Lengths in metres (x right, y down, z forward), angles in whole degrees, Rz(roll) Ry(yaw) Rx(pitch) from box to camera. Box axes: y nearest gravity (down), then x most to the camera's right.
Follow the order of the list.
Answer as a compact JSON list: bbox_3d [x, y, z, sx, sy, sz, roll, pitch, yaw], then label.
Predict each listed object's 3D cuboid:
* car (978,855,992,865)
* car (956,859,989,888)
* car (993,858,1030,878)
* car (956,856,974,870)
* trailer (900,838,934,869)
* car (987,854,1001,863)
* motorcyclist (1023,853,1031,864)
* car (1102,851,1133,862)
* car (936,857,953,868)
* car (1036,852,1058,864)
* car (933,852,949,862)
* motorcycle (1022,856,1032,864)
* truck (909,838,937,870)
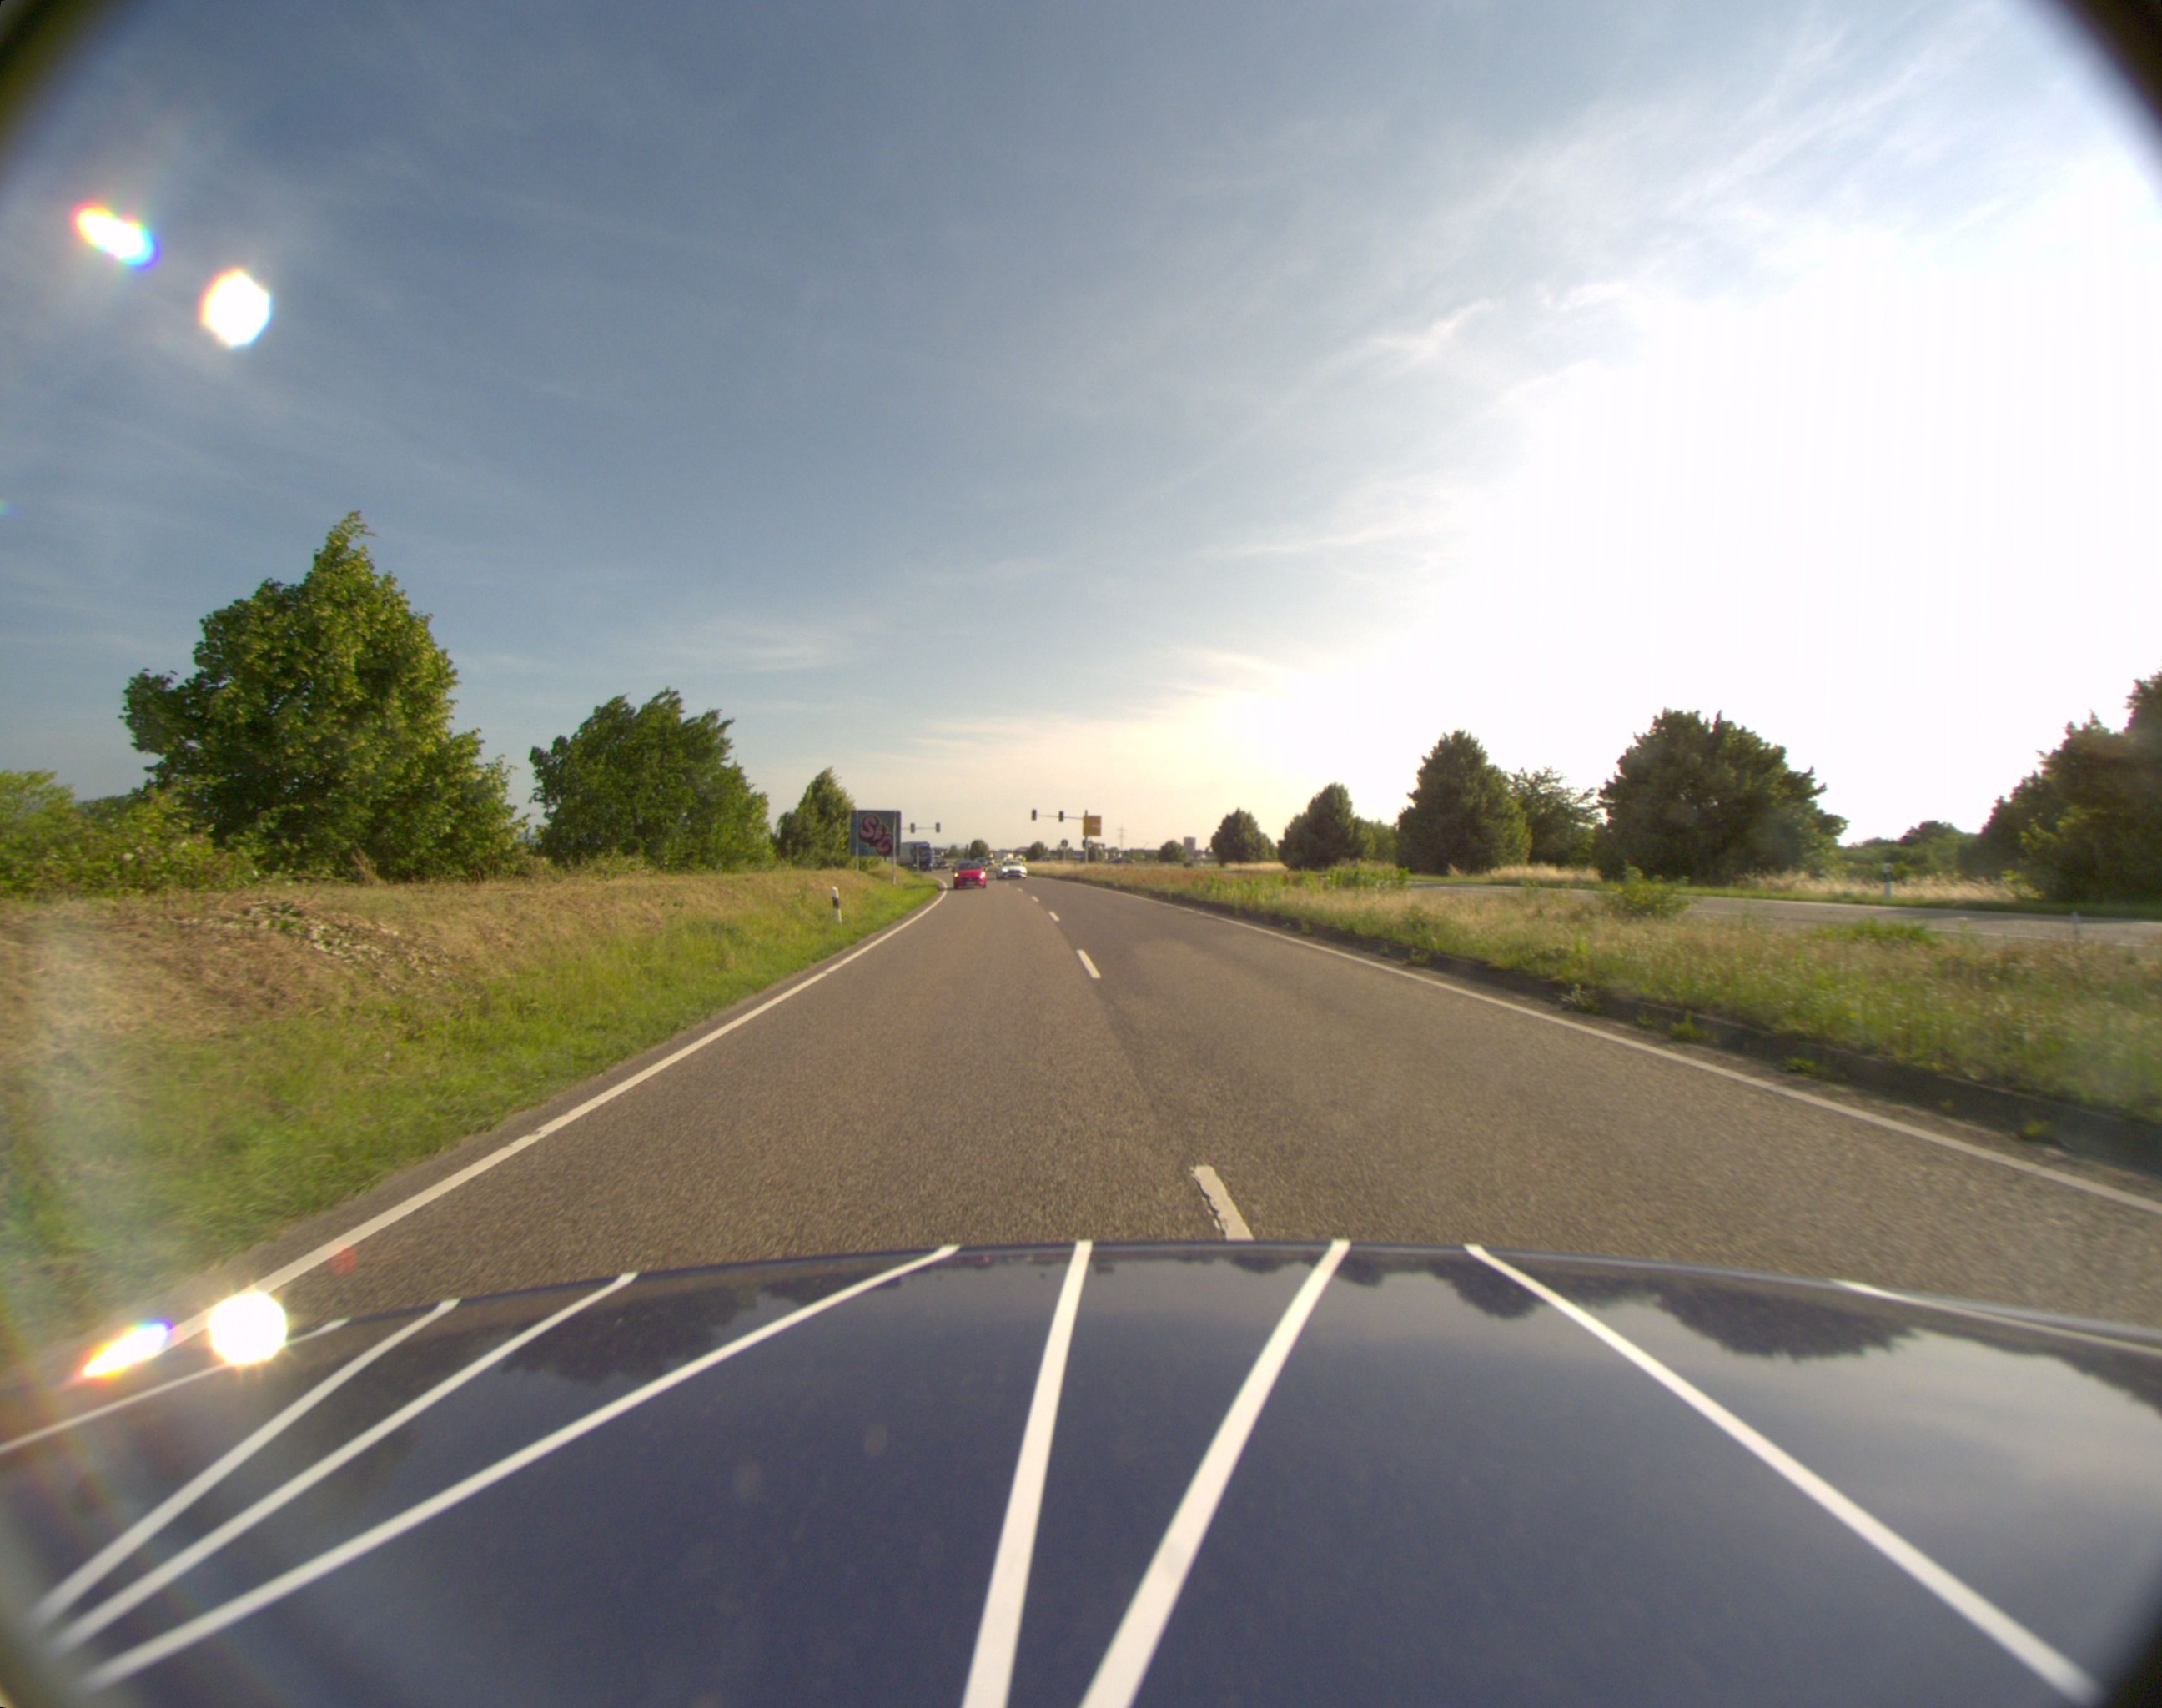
[{"bbox_3d":[-15.598,0.983,123.748,1.685,1.435,3.746,-2,0,-16],"label":"car"},{"bbox_3d":[-6.002,1.043,41.828,1.667,1.455,3.951,-2,1,-9],"label":"car"},{"bbox_3d":[-5.333,1.045,57.928,1.878,1.390,4.197,-1,0,-19],"label":"car"},{"bbox_3d":[-14.008,1.082,91.707,1.753,1.521,3.995,-1,0,-14],"label":"car"},{"bbox_3d":[-22.875,-0.057,105.351,2.655,3.956,13.906,-3,1,-20],"label":"trailer"},{"bbox_3d":[-15.132,0.702,132.253,1.712,1.516,4.128,-2,0,-18],"label":"car"},{"bbox_3d":[-8.228,0.685,115.470,0.755,1.595,1.247,-2,1,-21],"label":"motorcyclist"},{"bbox_3d":[5.420,0.385,112.572,4.004,1.390,1.956,-2,0,-23],"label":"car"},{"bbox_3d":[-19.463,1.156,107.984,1.833,1.521,3.994,-1,0,-17],"label":"car"},{"bbox_3d":[-4.714,0.595,104.671,1.920,1.556,4.603,-1,0,-18],"label":"car"},{"bbox_3d":[-27.827,0.677,150.891,2.002,1.892,5.778,-2,0,-22],"label":"car"},{"bbox_3d":[-8.227,0.921,115.493,0.755,1.087,2.304,-2,1,-21],"label":"motorcycle"},{"bbox_3d":[-20.696,-0.009,99.186,2.655,3.897,5.940,-3,1,-20],"label":"truck"}]
